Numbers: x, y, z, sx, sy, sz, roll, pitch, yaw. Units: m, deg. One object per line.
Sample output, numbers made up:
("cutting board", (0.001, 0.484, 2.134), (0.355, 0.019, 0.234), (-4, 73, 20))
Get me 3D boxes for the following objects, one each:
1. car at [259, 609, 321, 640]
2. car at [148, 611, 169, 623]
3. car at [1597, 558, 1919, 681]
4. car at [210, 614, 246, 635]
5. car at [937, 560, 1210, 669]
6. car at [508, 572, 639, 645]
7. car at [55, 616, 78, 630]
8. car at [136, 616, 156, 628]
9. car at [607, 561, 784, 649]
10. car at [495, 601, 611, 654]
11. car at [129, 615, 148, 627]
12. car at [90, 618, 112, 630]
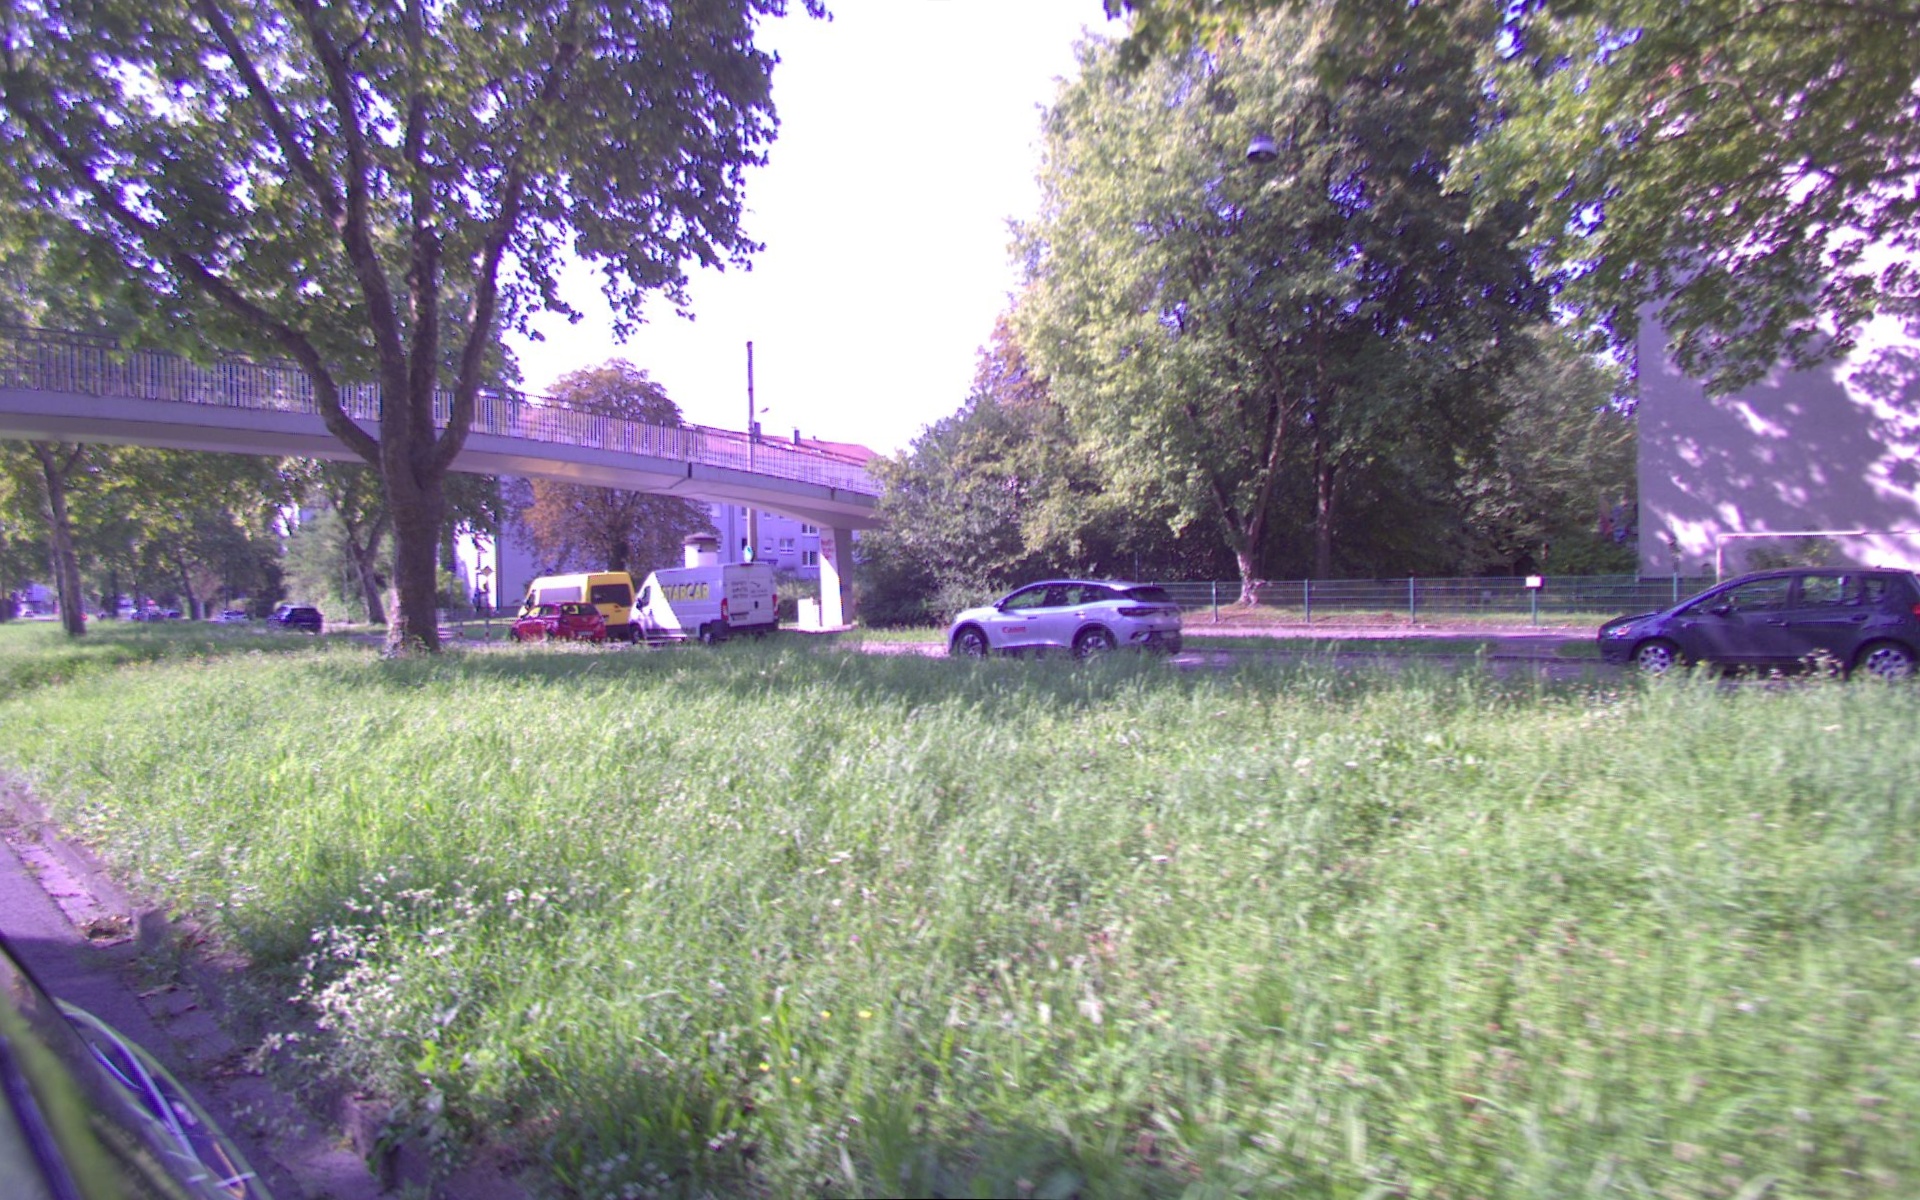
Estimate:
("car", (-35.457, 1.267, 53.490), (4.457, 1.544, 1.768), (-1, 1, 44))
("car", (-91.240, 1.960, 115.213), (1.590, 1.301, 3.526), (-2, 1, -43))
("car", (11.392, 0.246, 14.330), (3.860, 1.544, 1.507), (0, 0, 40))
("car", (-57.477, 1.899, 79.457), (3.900, 1.490, 1.627), (-1, 1, 44))
("car", (1.928, 0.265, 18.274), (4.717, 1.733, 1.783), (-1, 0, 41))
("car", (-14.428, 0.292, 37.556), (6.063, 2.498, 2.183), (-1, 1, 44))
("car", (-109.601, 2.824, 124.074), (4.858, 1.628, 1.755), (-1, 1, 44))
("car", (-99.345, 2.668, 123.481), (1.590, 1.301, 3.526), (-2, 1, -43))
("car", (-8.440, 0.147, 31.930), (6.263, 2.448, 2.185), (-1, 3, 42))
("car", (-12.970, 0.863, 32.133), (4.066, 1.544, 1.674), (-1, 0, 40))
("car", (-103.074, 2.672, 126.996), (1.590, 1.417, 3.526), (-1, 0, -43))
("car", (-107.164, 2.956, 126.269), (3.899, 1.374, 1.627), (-2, 0, 43))
